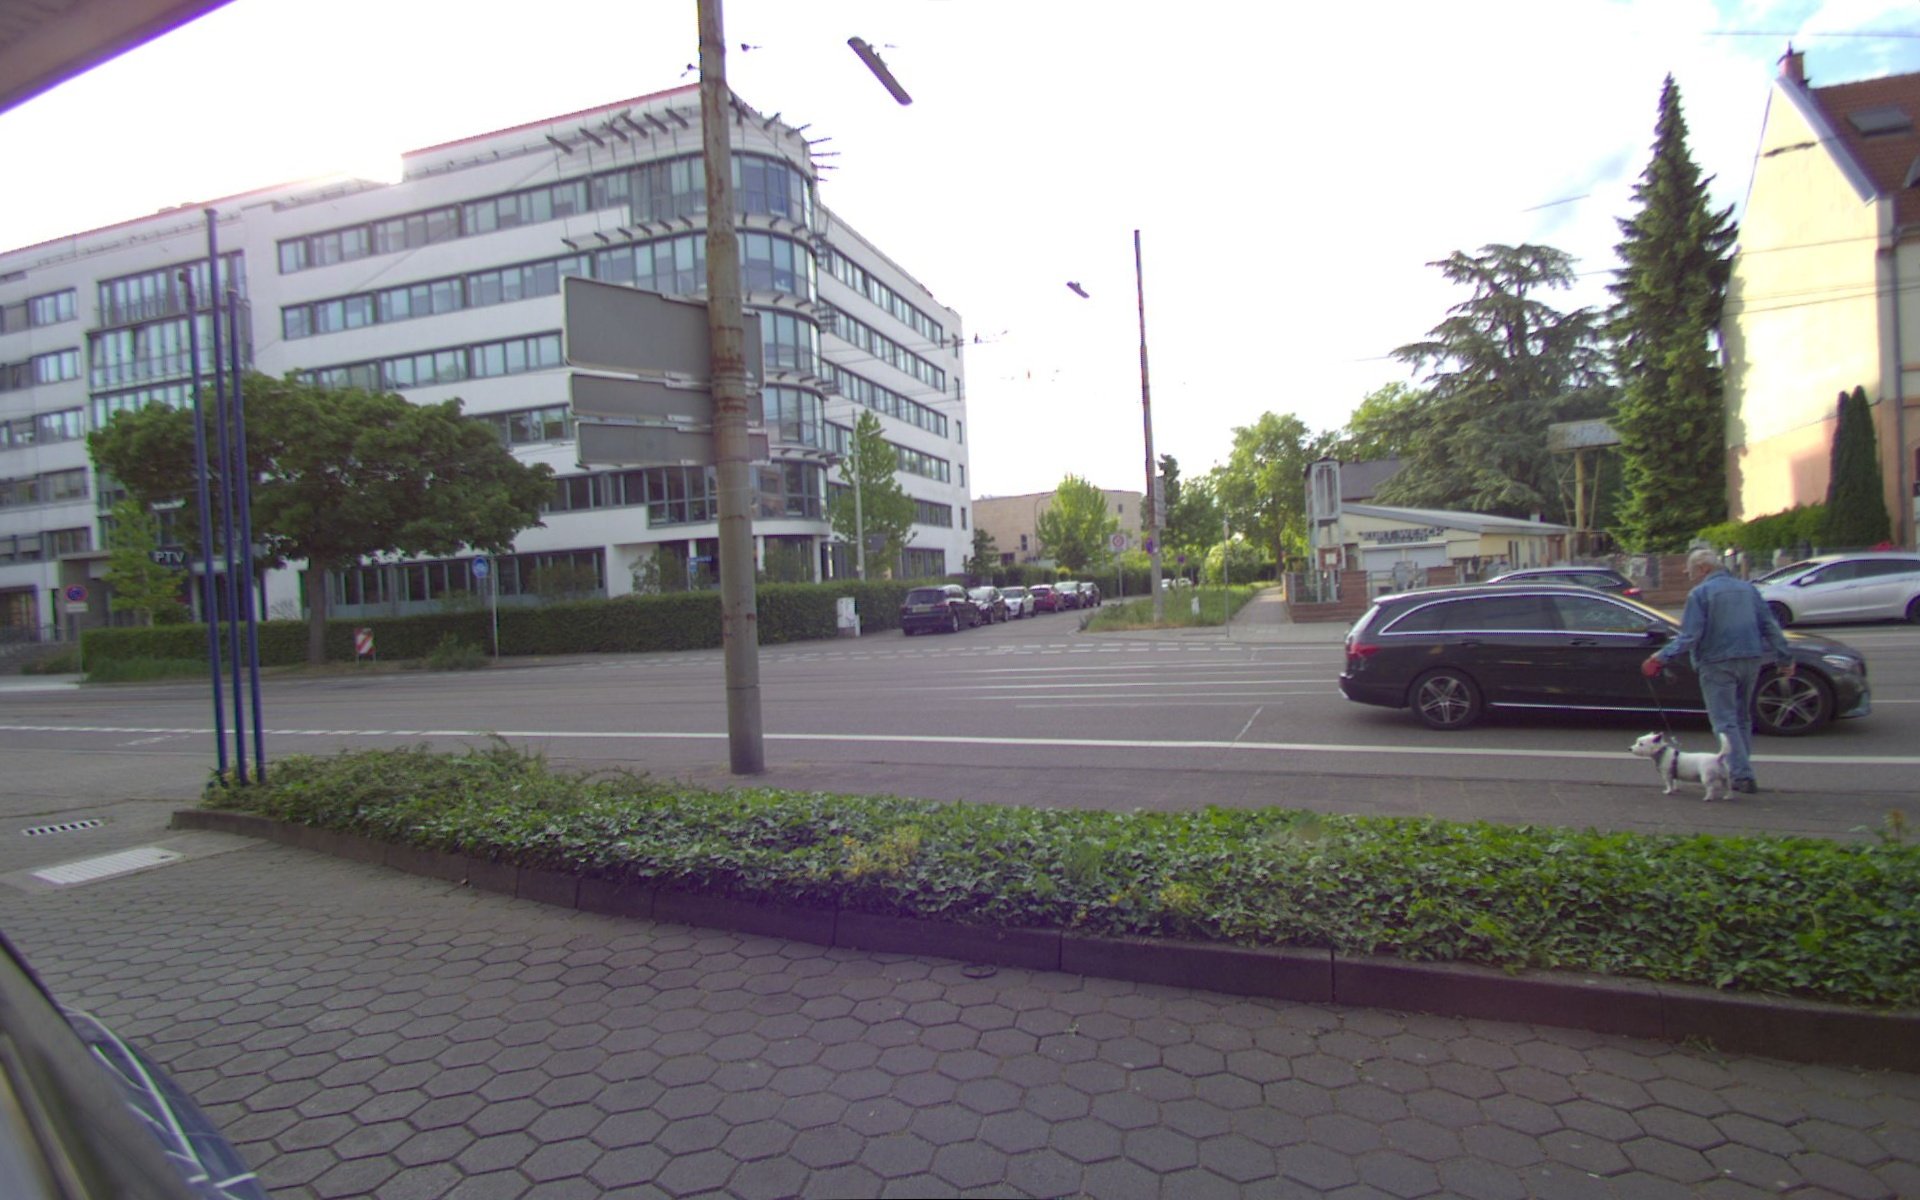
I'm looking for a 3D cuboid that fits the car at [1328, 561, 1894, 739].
[{"bbox_3d":[6.308,0.500,10.468,4.543,1.479,1.740,-3,3,25],"label":"car"}]

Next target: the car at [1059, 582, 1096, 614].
[{"bbox_3d":[7.281,-0.153,62.497,1.731,1.748,4.030,-3,0,13],"label":"car"}]

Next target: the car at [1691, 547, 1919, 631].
[{"bbox_3d":[18.415,-0.247,21.384,4.424,1.494,1.713,-3,1,21],"label":"car"}]

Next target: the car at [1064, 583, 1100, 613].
[{"bbox_3d":[8.084,-0.164,66.758,1.845,1.748,4.256,-3,0,13],"label":"car"}]

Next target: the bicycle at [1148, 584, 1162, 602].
[{"bbox_3d":[15.559,-0.576,80.786,0.859,1.320,1.909,-2,3,16],"label":"bicycle"}]

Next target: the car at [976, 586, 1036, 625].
[{"bbox_3d":[2.135,0.218,45.788,1.929,1.530,4.274,-3,0,13],"label":"car"}]

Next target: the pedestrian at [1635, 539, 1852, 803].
[{"bbox_3d":[5.419,0.451,7.090,1.000,1.680,0.961,-3,1,30],"label":"pedestrian"}]

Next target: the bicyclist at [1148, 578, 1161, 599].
[{"bbox_3d":[15.514,-0.904,80.688,0.859,1.617,1.023,-2,3,17],"label":"bicyclist"}]

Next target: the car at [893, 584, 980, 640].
[{"bbox_3d":[-0.733,0.363,35.417,1.994,1.704,4.274,-3,1,13],"label":"car"}]

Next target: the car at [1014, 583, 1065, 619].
[{"bbox_3d":[4.168,0.028,52.494,1.929,1.650,4.274,-3,0,13],"label":"car"}]

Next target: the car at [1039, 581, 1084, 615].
[{"bbox_3d":[5.828,-0.144,57.723,1.929,1.748,4.512,-3,0,13],"label":"car"}]

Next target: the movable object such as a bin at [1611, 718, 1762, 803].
[{"bbox_3d":[4.919,1.074,6.884,0.473,0.424,0.681,-4,1,-9],"label":"movable object such as a bin"}]

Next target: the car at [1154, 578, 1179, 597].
[{"bbox_3d":[21.682,-1.320,106.164,1.849,1.748,4.246,-3,0,19],"label":"car"}]

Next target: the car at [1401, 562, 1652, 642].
[{"bbox_3d":[12.904,0.054,23.445,4.742,1.511,2.001,-3,1,21],"label":"car"}]

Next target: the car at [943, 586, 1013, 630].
[{"bbox_3d":[0.787,0.294,40.977,1.929,1.551,4.274,-3,0,13],"label":"car"}]

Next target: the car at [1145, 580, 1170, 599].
[{"bbox_3d":[19.691,-1.071,100.794,1.849,1.748,4.247,-3,0,19],"label":"car"}]
